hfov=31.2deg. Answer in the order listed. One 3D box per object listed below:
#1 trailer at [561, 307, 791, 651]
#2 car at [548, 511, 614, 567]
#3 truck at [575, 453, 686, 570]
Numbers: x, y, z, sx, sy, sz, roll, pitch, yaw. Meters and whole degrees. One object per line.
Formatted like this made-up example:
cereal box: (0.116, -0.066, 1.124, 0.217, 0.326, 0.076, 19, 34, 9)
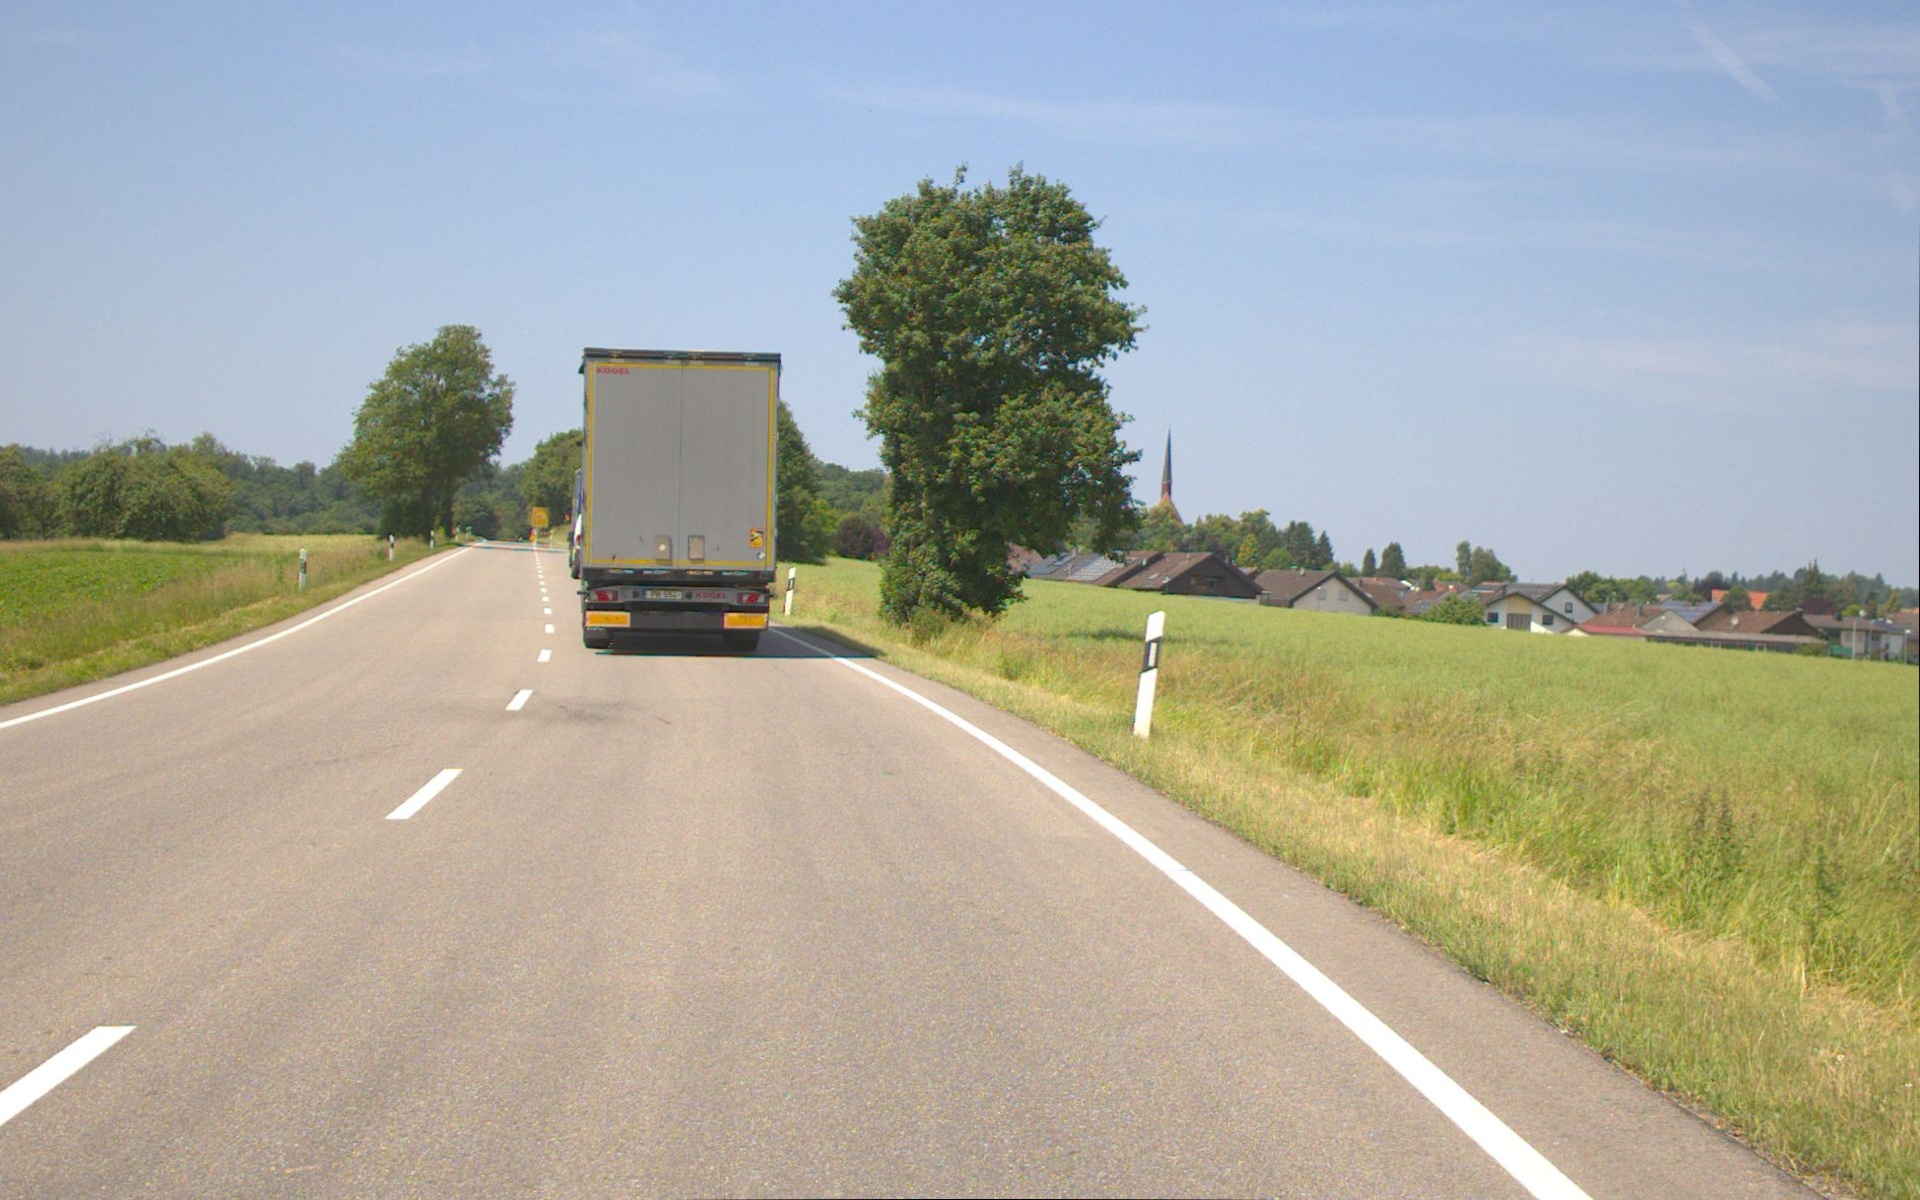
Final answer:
trailer: (-4.435, -1.698, 50.958, 2.866, 4.385, 13.496, 1, 1, -7)
car: (-12.816, -2.054, 116.441, 1.725, 1.866, 4.000, 1, 1, 1)
truck: (-13.362, -3.556, 141.094, 3.549, 4.377, 18.123, 1, 1, -3)
